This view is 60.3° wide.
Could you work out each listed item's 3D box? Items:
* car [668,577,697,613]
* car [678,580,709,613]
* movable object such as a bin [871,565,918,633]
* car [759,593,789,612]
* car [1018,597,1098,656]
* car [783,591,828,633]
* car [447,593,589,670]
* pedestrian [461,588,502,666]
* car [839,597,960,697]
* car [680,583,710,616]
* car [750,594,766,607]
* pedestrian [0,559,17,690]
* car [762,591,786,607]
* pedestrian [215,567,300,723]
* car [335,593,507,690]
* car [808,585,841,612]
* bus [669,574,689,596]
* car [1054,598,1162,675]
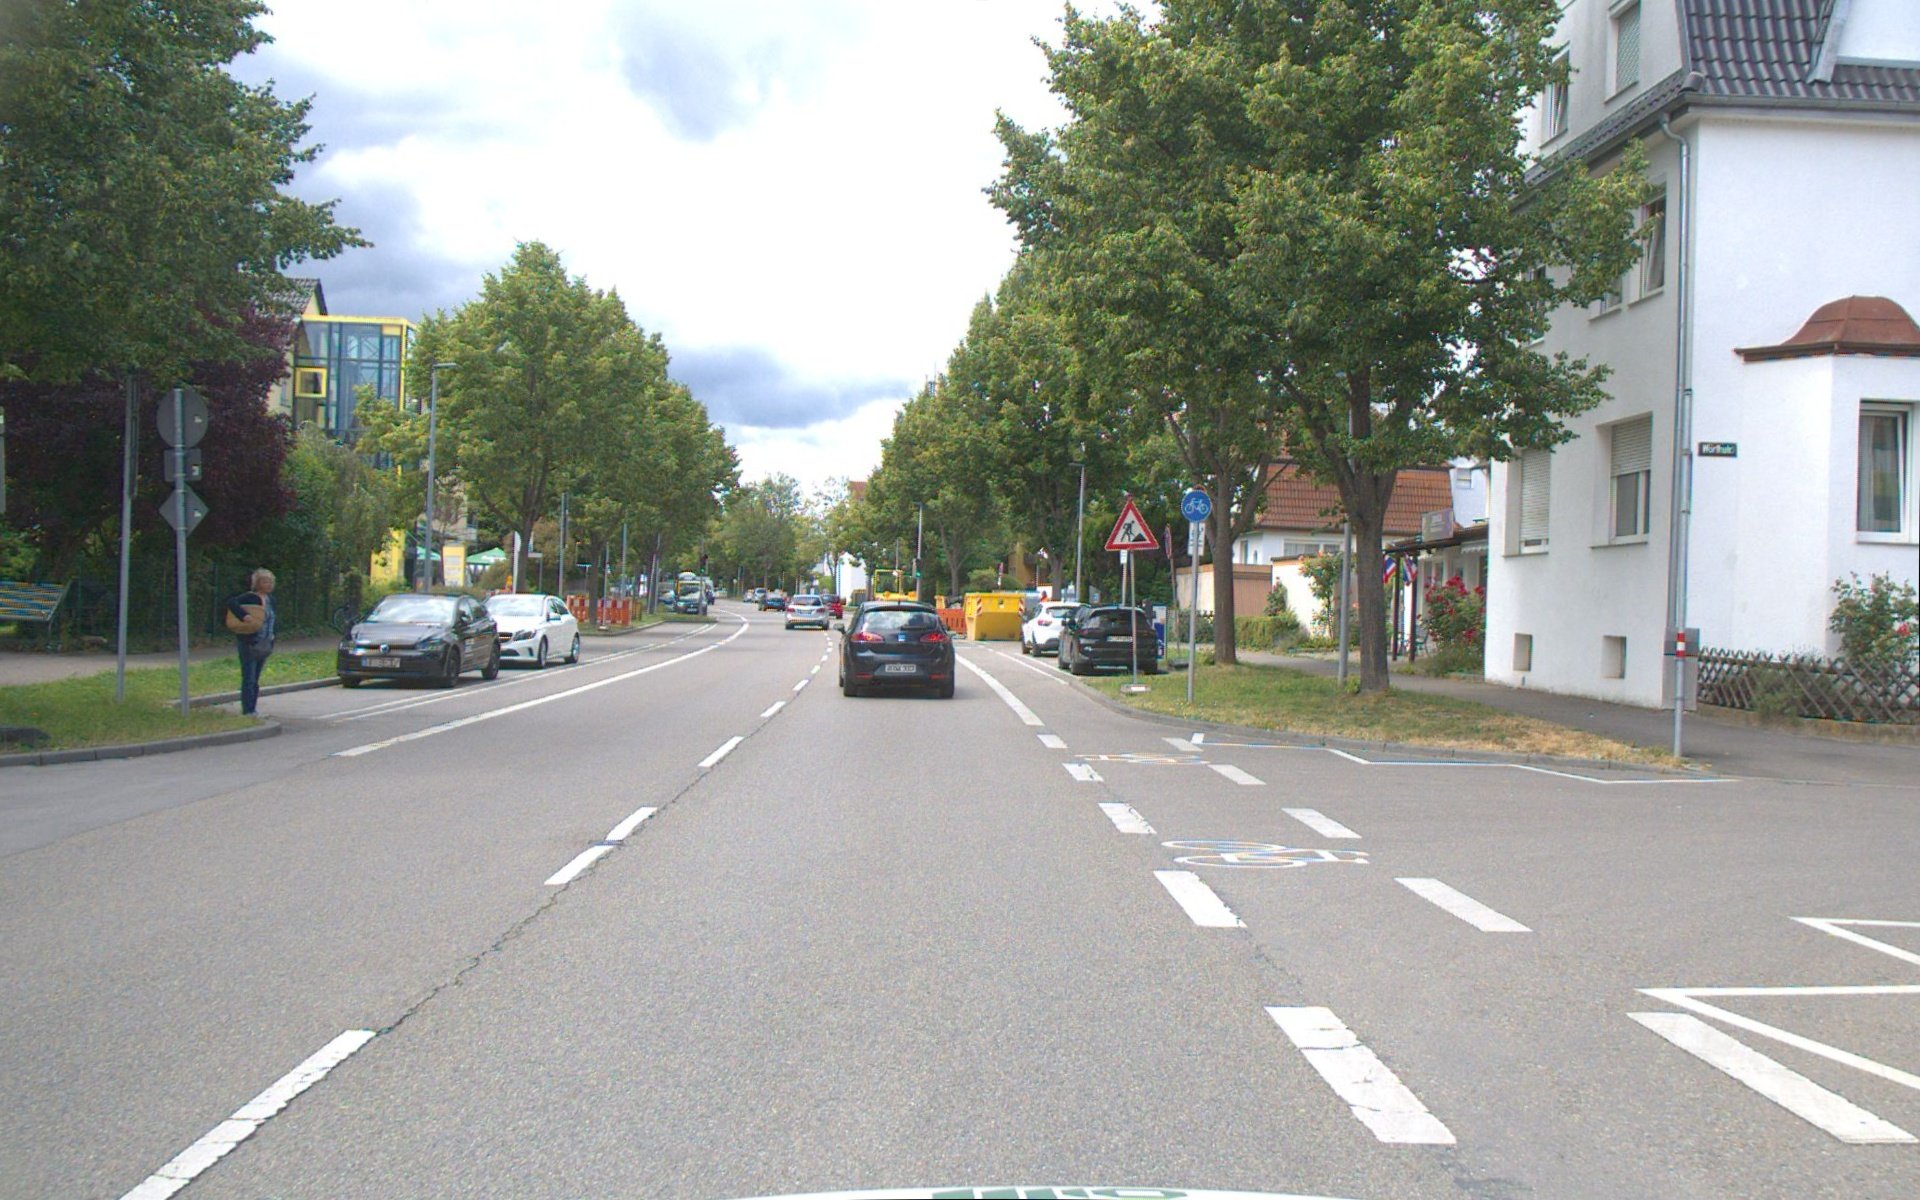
[{"bbox_3d":[-21.043,-0.375,125.295,2.054,2.672,5.033,1,0,-10],"label":"car"},{"bbox_3d":[-18.667,-0.259,115.603,2.054,2.213,5.033,1,0,-10],"label":"car"},{"bbox_3d":[-2.656,-0.047,66.680,1.733,2.619,3.737,1,0,-4],"label":"movable object such as a bin"},{"bbox_3d":[-14.650,0.177,130.426,1.780,1.399,3.677,1,0,-16],"label":"car"},{"bbox_3d":[2.619,0.688,44.862,1.639,1.488,3.997,1,0,-4],"label":"car"},{"bbox_3d":[-6.619,0.499,71.216,1.868,1.715,3.736,1,0,-5],"label":"car"},{"bbox_3d":[-8.841,0.585,33.431,1.679,1.431,4.300,1,0,0],"label":"car"},{"bbox_3d":[-9.676,0.540,33.455,0.577,1.555,0.690,1,0,-37],"label":"pedestrian"},{"bbox_3d":[-1.005,0.700,26.378,1.783,1.463,3.737,1,0,-4],"label":"car"},{"bbox_3d":[-14.924,-0.026,93.354,1.636,1.803,4.458,0,0,-9],"label":"car"},{"bbox_3d":[-23.006,0.012,188.651,1.775,1.440,3.687,1,0,-7],"label":"car"},{"bbox_3d":[-11.811,0.294,19.907,0.421,1.579,0.806,2,0,-2],"label":"pedestrian"},{"bbox_3d":[-16.621,-0.093,147.662,1.779,1.440,3.681,1,0,-13],"label":"car"},{"bbox_3d":[-7.959,0.491,18.755,0.531,1.710,0.751,3,1,7],"label":"pedestrian"},{"bbox_3d":[-8.613,0.620,26.767,1.610,1.445,4.018,0,0,-3],"label":"car"},{"bbox_3d":[-8.284,-0.099,100.948,1.758,1.651,3.732,0,0,-9],"label":"car"},{"bbox_3d":[-29.148,-1.548,171.426,1.958,2.160,7.339,1,0,-11],"label":"bus"},{"bbox_3d":[3.059,0.720,35.022,1.671,1.480,4.614,1,0,-3],"label":"car"}]
